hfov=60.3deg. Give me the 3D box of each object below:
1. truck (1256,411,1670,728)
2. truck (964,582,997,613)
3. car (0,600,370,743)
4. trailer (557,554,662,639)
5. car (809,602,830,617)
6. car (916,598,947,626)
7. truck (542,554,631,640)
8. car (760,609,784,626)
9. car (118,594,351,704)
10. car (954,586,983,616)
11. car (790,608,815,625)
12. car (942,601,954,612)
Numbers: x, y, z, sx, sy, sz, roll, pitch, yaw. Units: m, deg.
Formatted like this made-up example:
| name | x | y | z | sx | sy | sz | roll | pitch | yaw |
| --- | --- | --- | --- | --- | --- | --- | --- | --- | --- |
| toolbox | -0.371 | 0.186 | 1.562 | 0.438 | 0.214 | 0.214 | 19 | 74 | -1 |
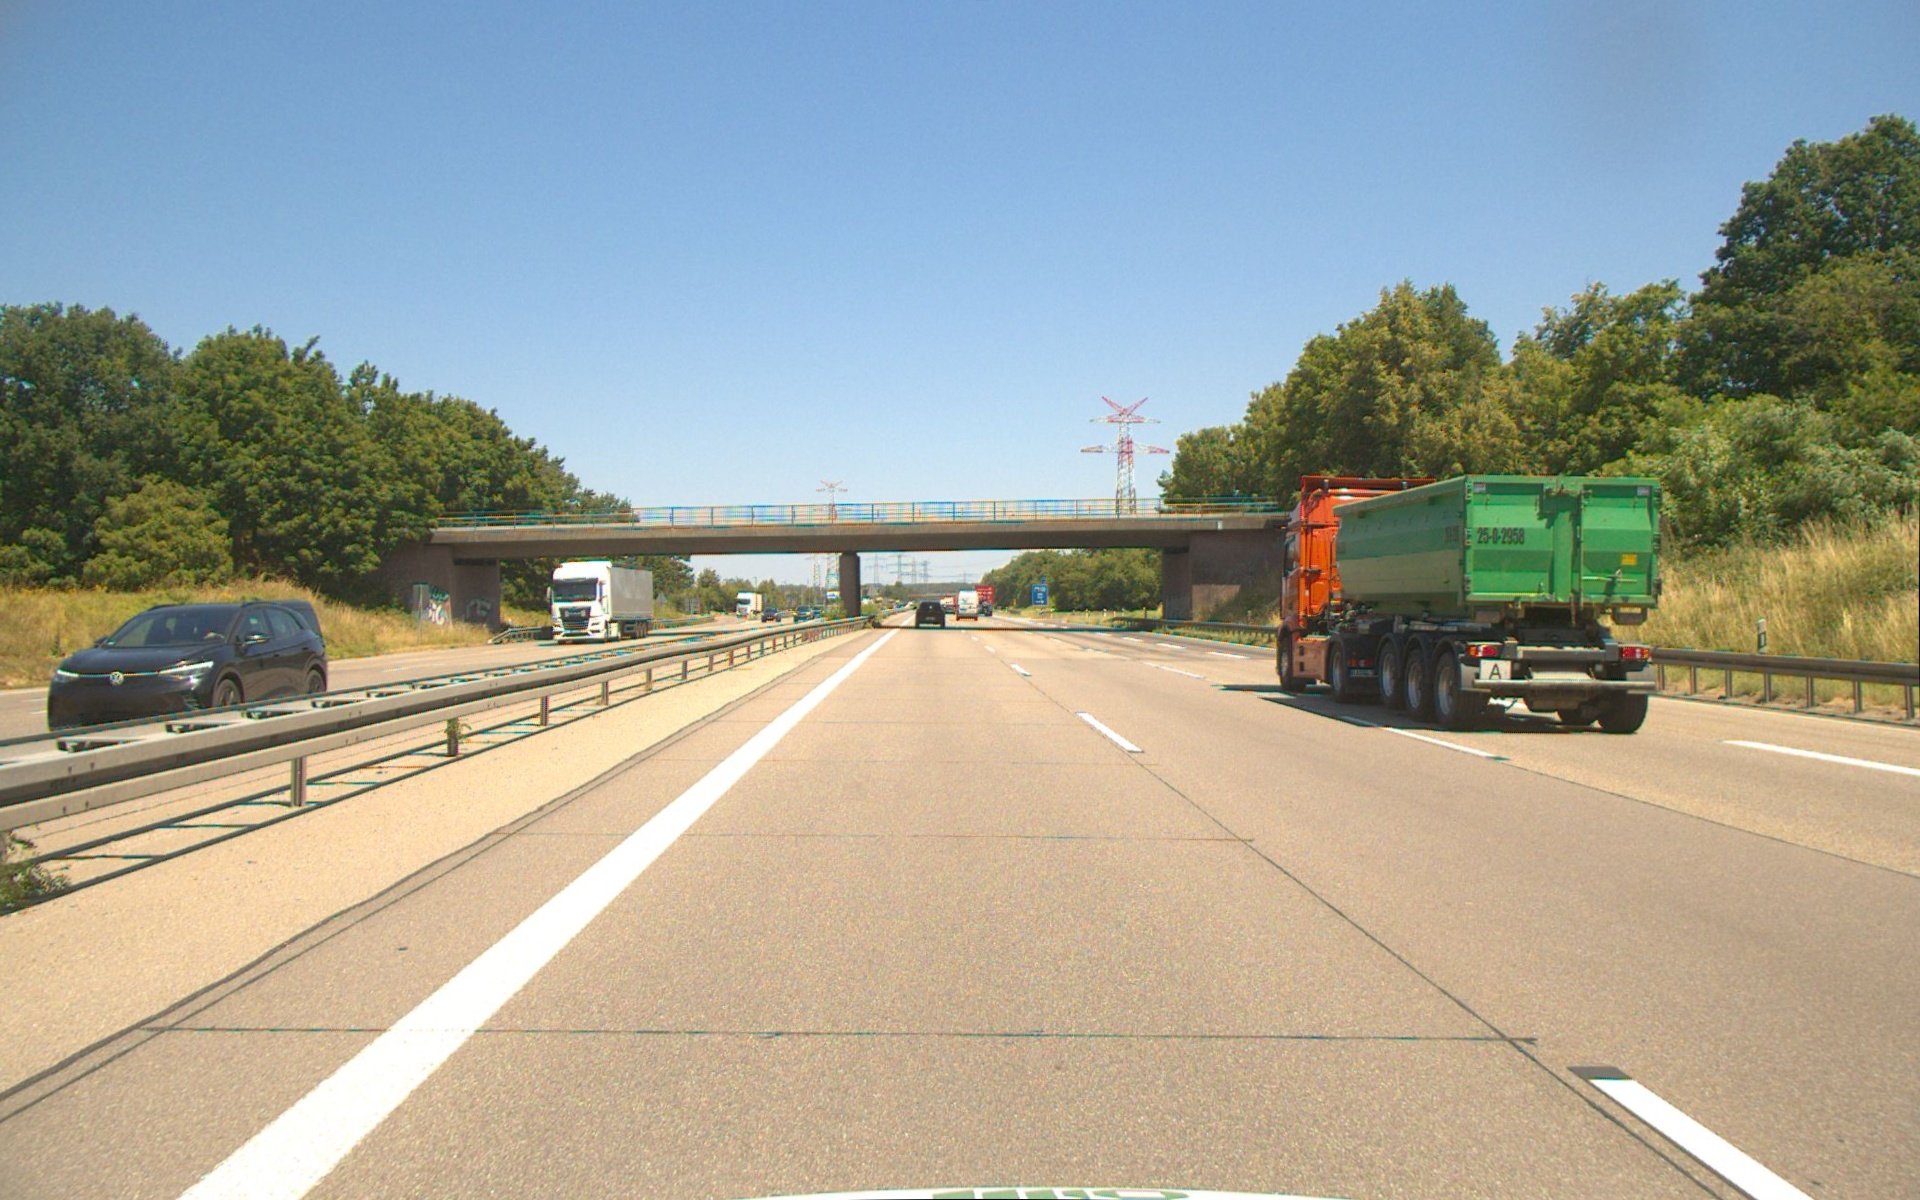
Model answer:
| name | x | y | z | sx | sy | sz | roll | pitch | yaw |
| --- | --- | --- | --- | --- | --- | --- | --- | --- | --- |
| truck | 7.315 | -0.383 | 26.605 | 2.626 | 3.864 | 12.475 | 1 | 0 | -1 |
| truck | 2.780 | -0.332 | 228.901 | 4.243 | 4.010 | 16.074 | 1 | 0 | -1 |
| car | -9.397 | 0.779 | 20.678 | 2.183 | 1.449 | 5.297 | -3 | 0 | -1 |
| trailer | -19.068 | -0.198 | 91.074 | 2.889 | 4.179 | 14.099 | -3 | 0 | -1 |
| car | -17.003 | 1.103 | 199.926 | 2.183 | 1.639 | 5.058 | -3 | 0 | -1 |
| car | -1.884 | 0.758 | 108.176 | 1.953 | 1.780 | 3.999 | 1 | 0 | -1 |
| truck | -18.896 | -0.149 | 84.044 | 2.889 | 4.029 | 6.951 | -3 | 0 | -1 |
| car | -20.786 | 1.921 | 183.175 | 2.183 | 1.639 | 5.058 | -3 | 0 | -1 |
| car | -13.766 | 0.857 | 31.797 | 2.183 | 1.843 | 5.297 | -3 | 0 | -1 |
| car | 0.811 | 0.094 | 158.363 | 2.568 | 2.807 | 6.095 | 1 | 0 | -1 |
| car | -16.474 | 1.681 | 172.863 | 2.183 | 1.639 | 5.058 | -3 | 0 | -1 |
| car | -1.808 | 0.999 | 247.889 | 1.711 | 1.662 | 4.002 | 1 | 0 | -1 |
